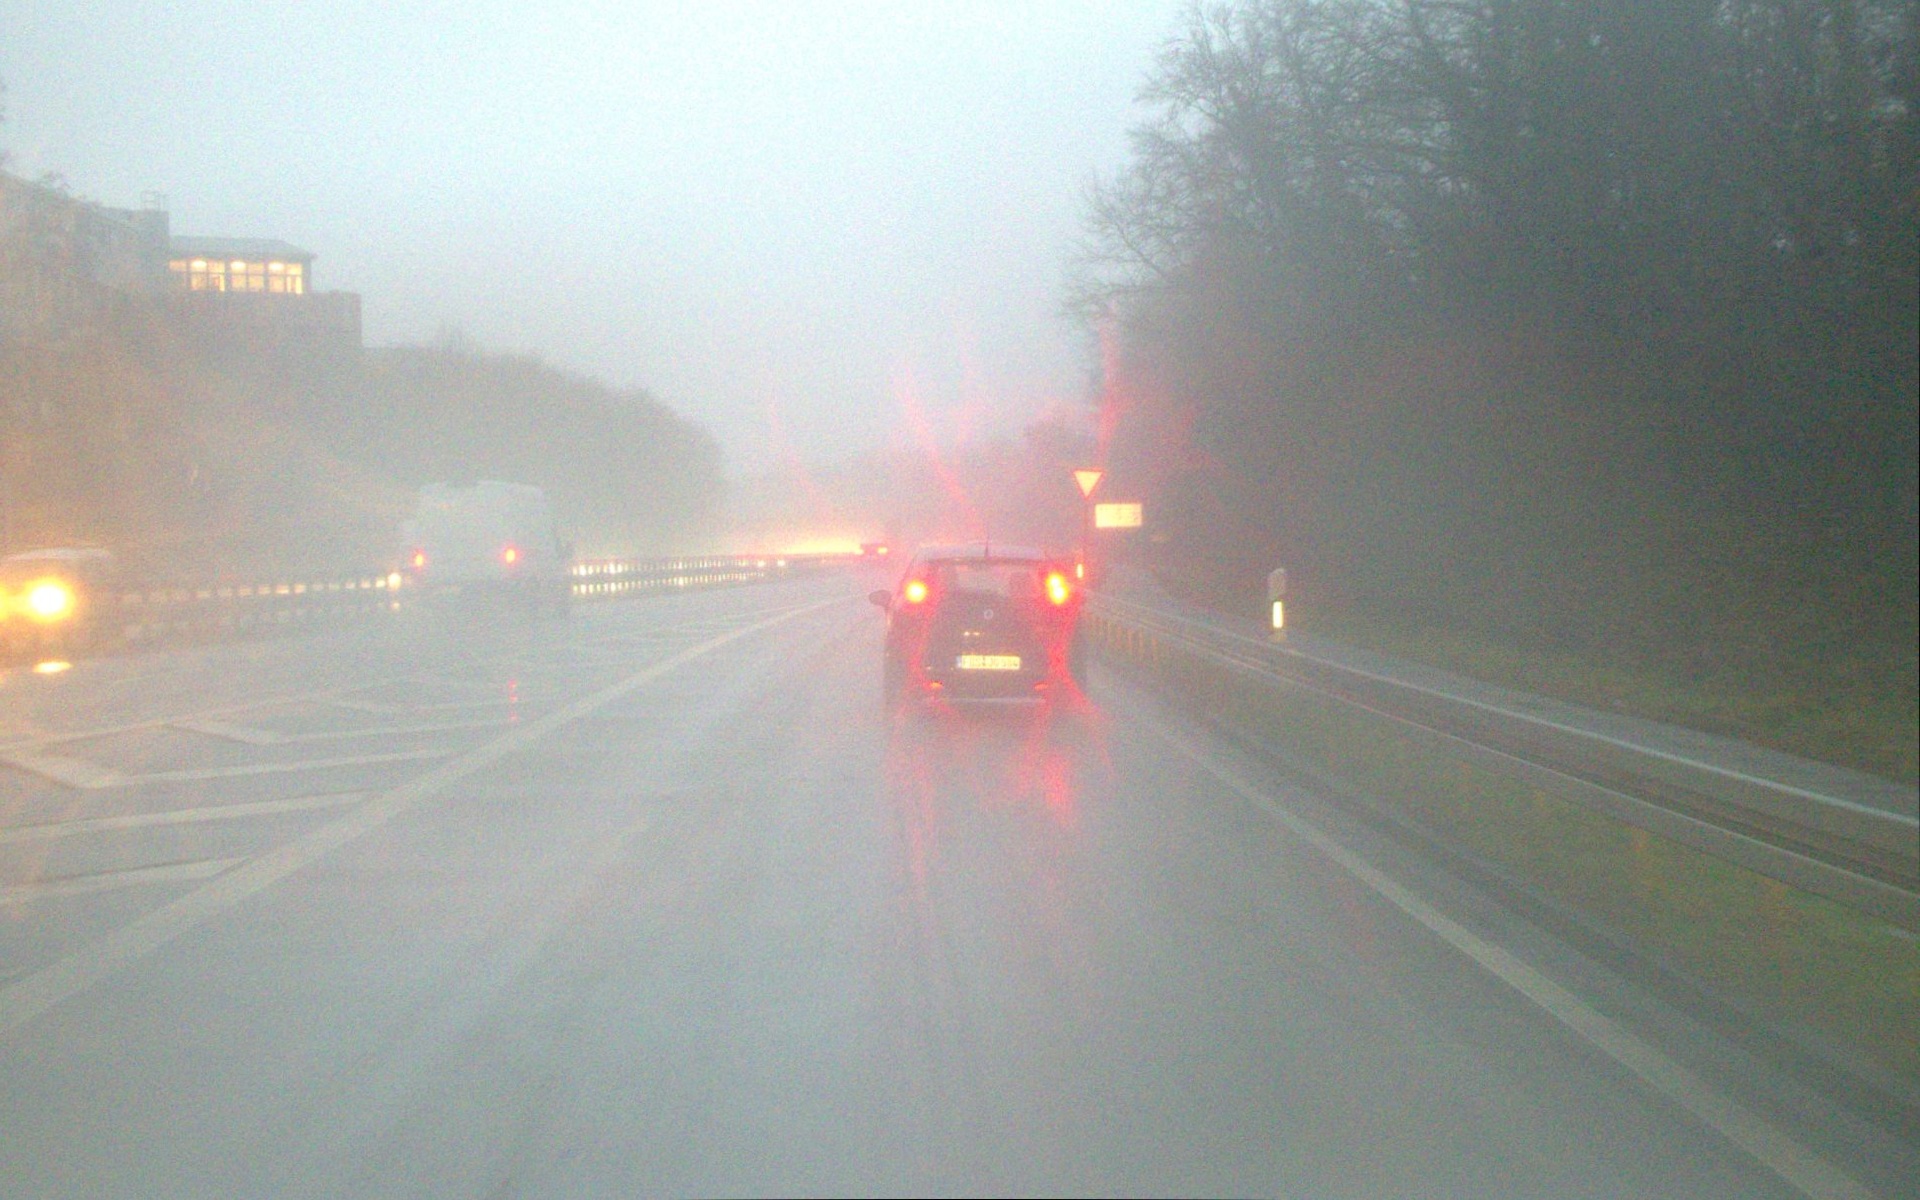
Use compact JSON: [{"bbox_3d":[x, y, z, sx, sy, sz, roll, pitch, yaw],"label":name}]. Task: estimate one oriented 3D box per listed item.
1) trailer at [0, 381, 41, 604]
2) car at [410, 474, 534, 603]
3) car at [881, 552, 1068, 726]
[{"bbox_3d":[-22.987,-2.313,70.439,3.490,4.831,13.477,1,1,5],"label":"trailer"},{"bbox_3d":[-9.657,-1.215,68.311,2.000,2.445,4.000,1,1,-2],"label":"car"},{"bbox_3d":[0.120,0.301,30.179,1.527,1.411,3.479,1,1,0],"label":"car"}]
